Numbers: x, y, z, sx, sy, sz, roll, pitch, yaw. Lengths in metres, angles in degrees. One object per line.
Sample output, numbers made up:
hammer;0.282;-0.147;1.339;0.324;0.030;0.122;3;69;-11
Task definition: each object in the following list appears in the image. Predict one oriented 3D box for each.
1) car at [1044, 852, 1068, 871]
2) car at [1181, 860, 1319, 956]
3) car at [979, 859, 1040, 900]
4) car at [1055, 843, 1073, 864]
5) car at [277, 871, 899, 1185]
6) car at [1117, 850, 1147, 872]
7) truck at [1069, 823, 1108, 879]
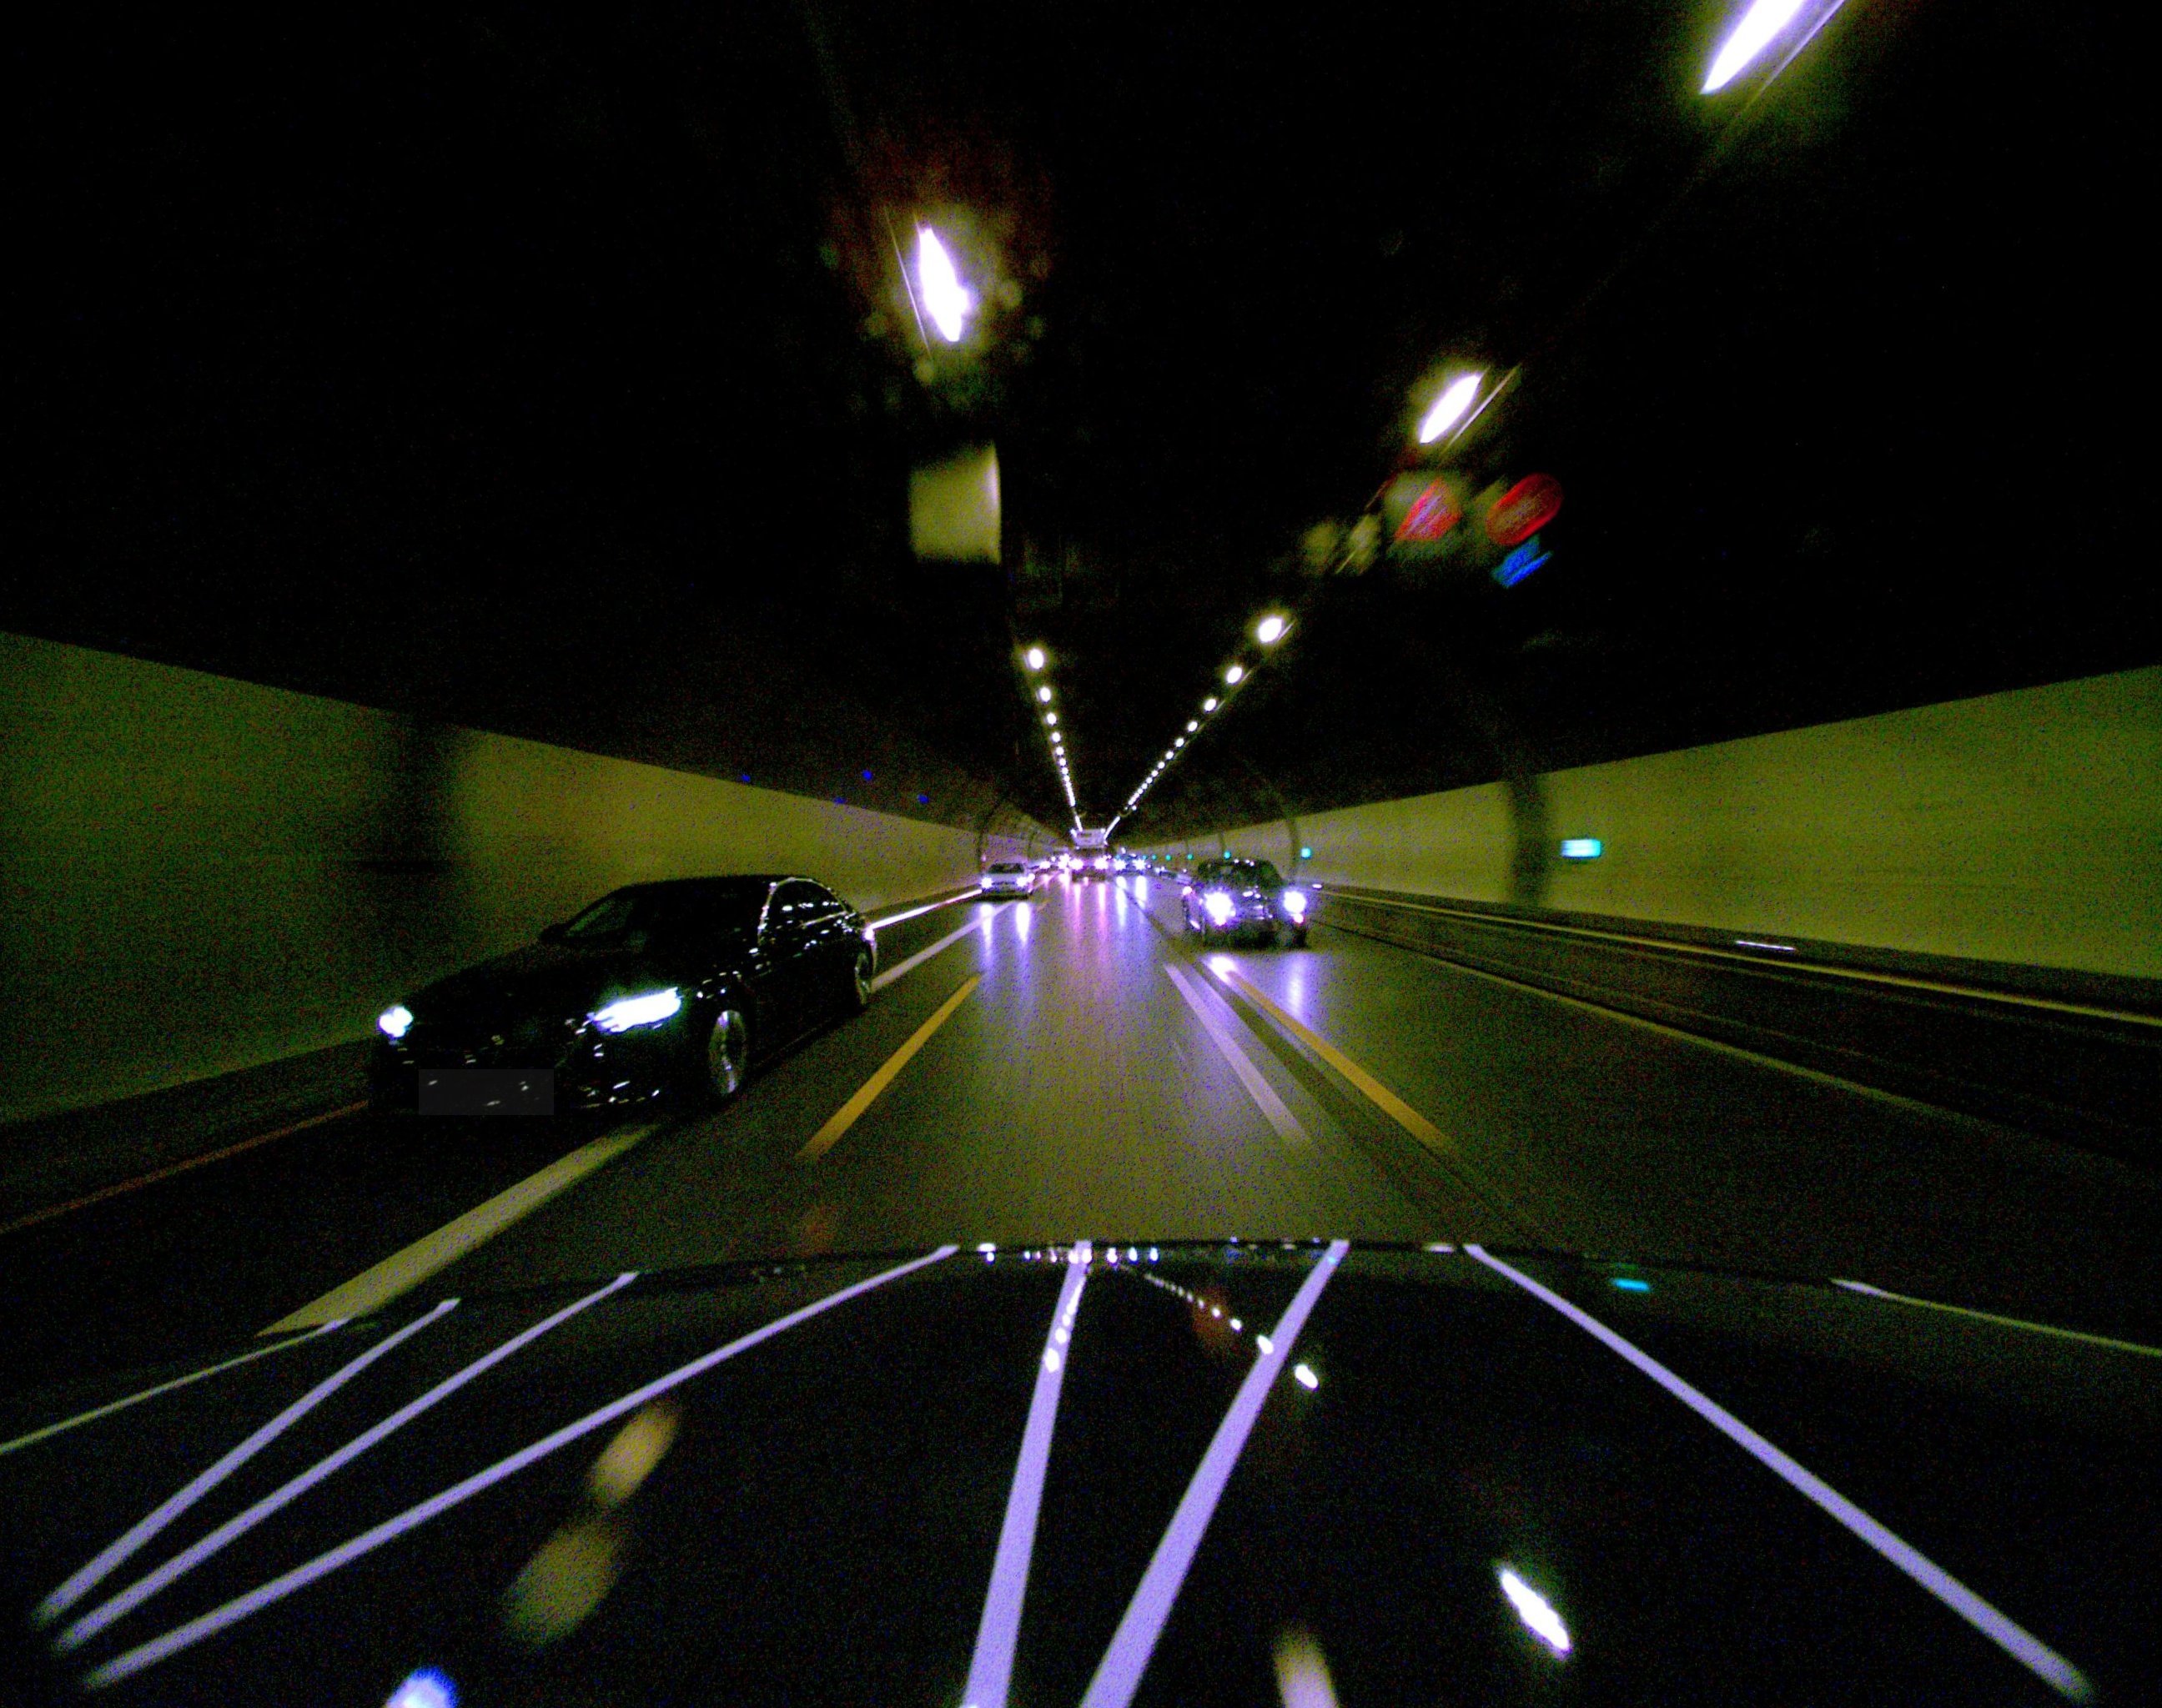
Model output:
car;-2.166;0.634;67.849;1.958;1.528;4.757;0;1;0
car;2.846;0.845;13.531;1.657;1.395;3.657;-1;0;1
car;-2.696;0.954;29.636;1.801;1.452;4.035;0;0;3
car;-2.072;-0.111;95.020;2.124;2.629;6.229;0;1;1
car;-3.147;0.955;6.406;1.930;1.464;4.954;0;0;1
car;3.892;0.534;58.534;1.958;1.528;4.757;-2;1;0
truck;0.501;-0.205;48.463;2.262;3.238;7.383;1;0;1
